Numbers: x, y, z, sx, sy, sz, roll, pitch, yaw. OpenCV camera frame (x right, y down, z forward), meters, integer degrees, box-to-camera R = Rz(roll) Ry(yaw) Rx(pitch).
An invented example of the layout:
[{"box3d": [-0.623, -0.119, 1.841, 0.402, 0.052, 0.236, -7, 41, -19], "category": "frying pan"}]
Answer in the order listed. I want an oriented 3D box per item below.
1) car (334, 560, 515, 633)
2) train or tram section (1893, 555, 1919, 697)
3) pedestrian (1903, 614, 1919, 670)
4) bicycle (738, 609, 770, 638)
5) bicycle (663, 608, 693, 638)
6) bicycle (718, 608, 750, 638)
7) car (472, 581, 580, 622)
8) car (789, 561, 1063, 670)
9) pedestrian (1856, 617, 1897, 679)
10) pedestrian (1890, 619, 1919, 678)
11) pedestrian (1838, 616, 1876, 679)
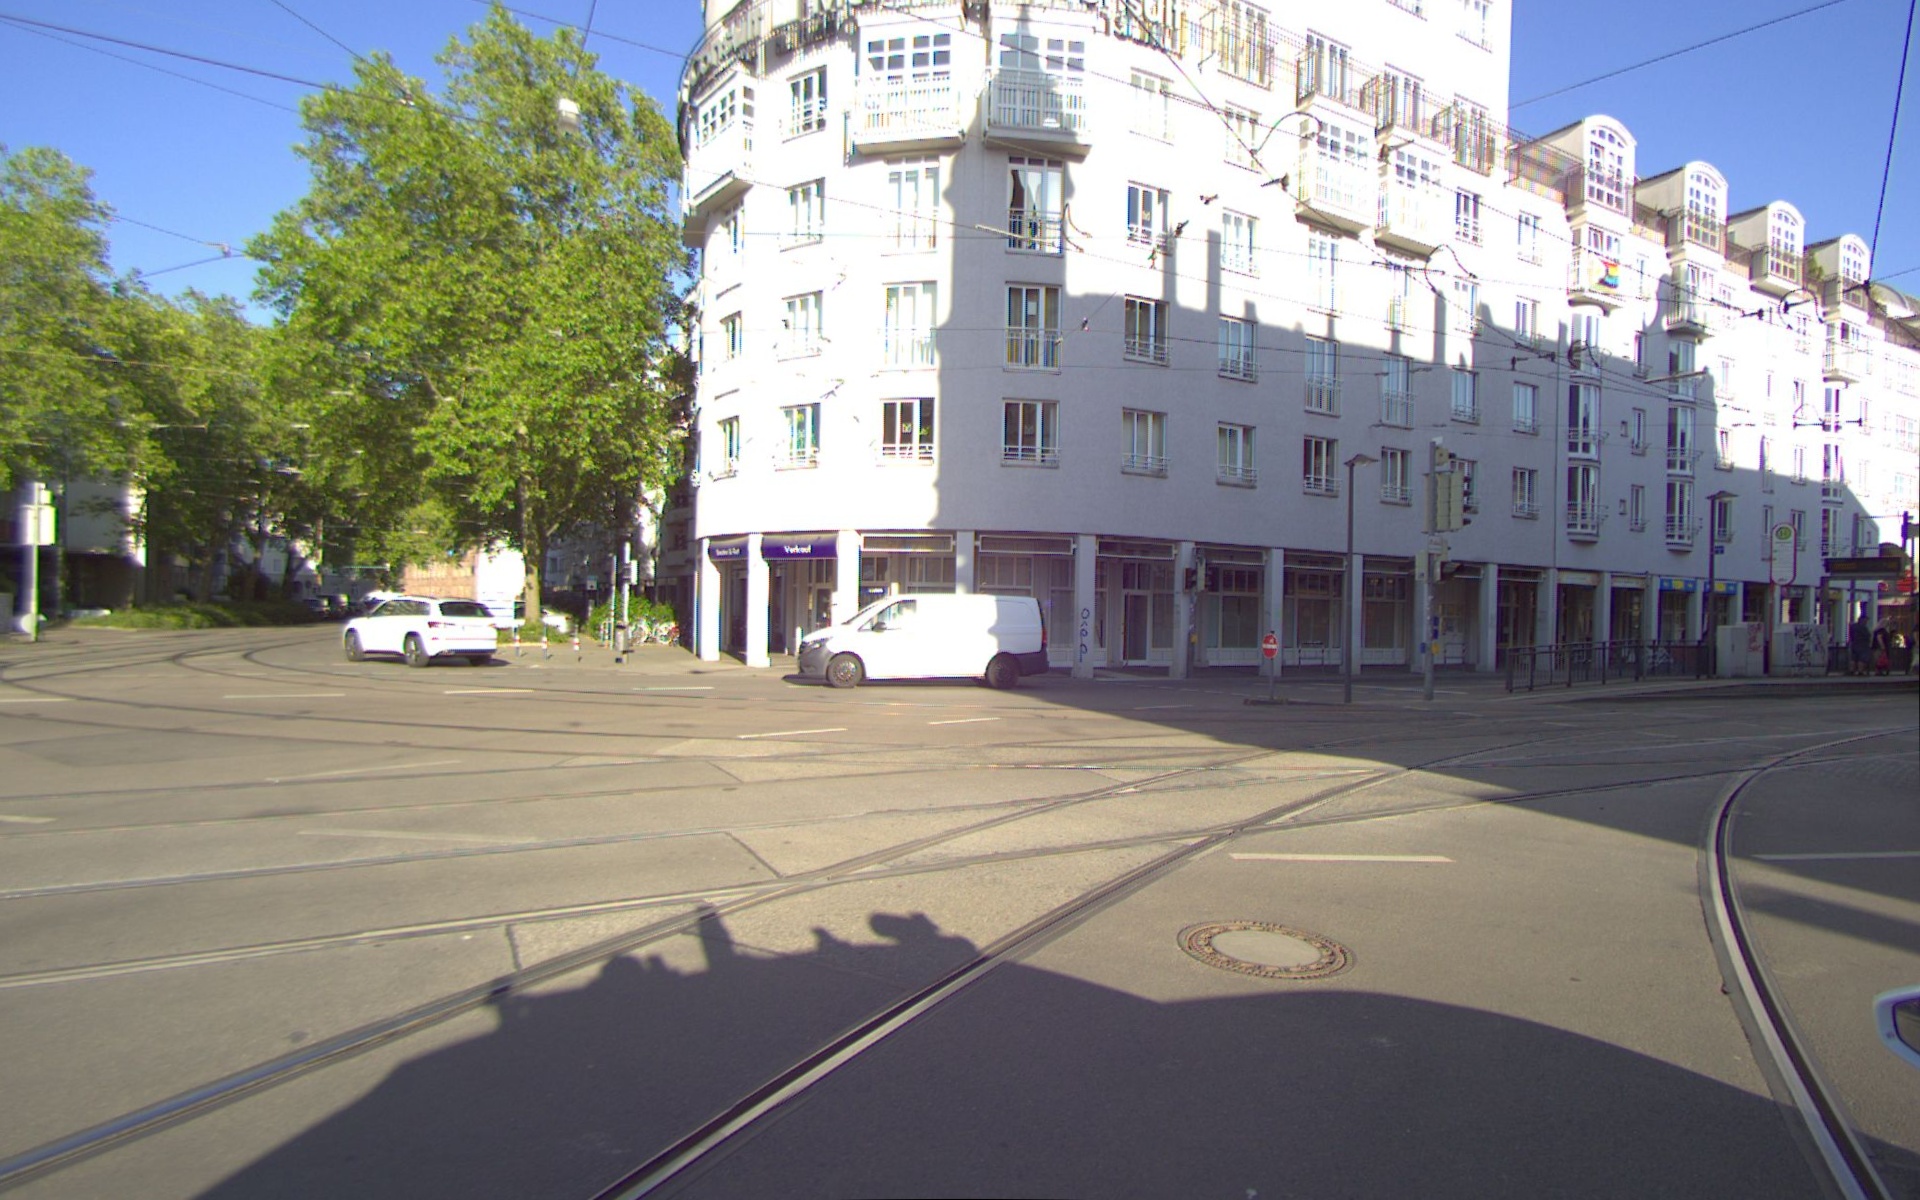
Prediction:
[{"box3d": [-13.160, -0.081, 24.632, 4.433, 1.641, 1.995, 1, -1, 33], "category": "car"}, {"box3d": [30.464, 0.835, 27.591, 13.995, 3.536, 2.872, 2, 0, -29], "category": "train or tram section"}, {"box3d": [29.867, 1.310, 31.249, 0.687, 1.713, 0.670, 2, 0, 37], "category": "pedestrian"}, {"box3d": [-8.282, 0.928, 40.341, 0.808, 1.122, 1.935, 1, 0, -26], "category": "bicycle"}, {"box3d": [-10.888, 0.878, 38.751, 0.807, 1.122, 1.937, 1, 0, -24], "category": "bicycle"}, {"box3d": [-8.974, 0.913, 39.814, 0.808, 1.122, 1.935, 1, 0, -26], "category": "bicycle"}, {"box3d": [-18.096, 0.067, 41.930, 3.953, 1.530, 1.785, 2, 1, -30], "category": "car"}, {"box3d": [-0.733, 0.342, 20.592, 5.256, 1.862, 1.995, 3, -1, -14], "category": "car"}, {"box3d": [26.467, 1.370, 29.019, 0.510, 1.756, 0.766, 2, 0, 13], "category": "pedestrian"}, {"box3d": [28.440, 1.448, 30.129, 0.687, 1.713, 0.670, 2, 0, 37], "category": "pedestrian"}, {"box3d": [24.888, 1.303, 27.857, 0.606, 1.714, 0.596, 2, 0, -29], "category": "pedestrian"}]
